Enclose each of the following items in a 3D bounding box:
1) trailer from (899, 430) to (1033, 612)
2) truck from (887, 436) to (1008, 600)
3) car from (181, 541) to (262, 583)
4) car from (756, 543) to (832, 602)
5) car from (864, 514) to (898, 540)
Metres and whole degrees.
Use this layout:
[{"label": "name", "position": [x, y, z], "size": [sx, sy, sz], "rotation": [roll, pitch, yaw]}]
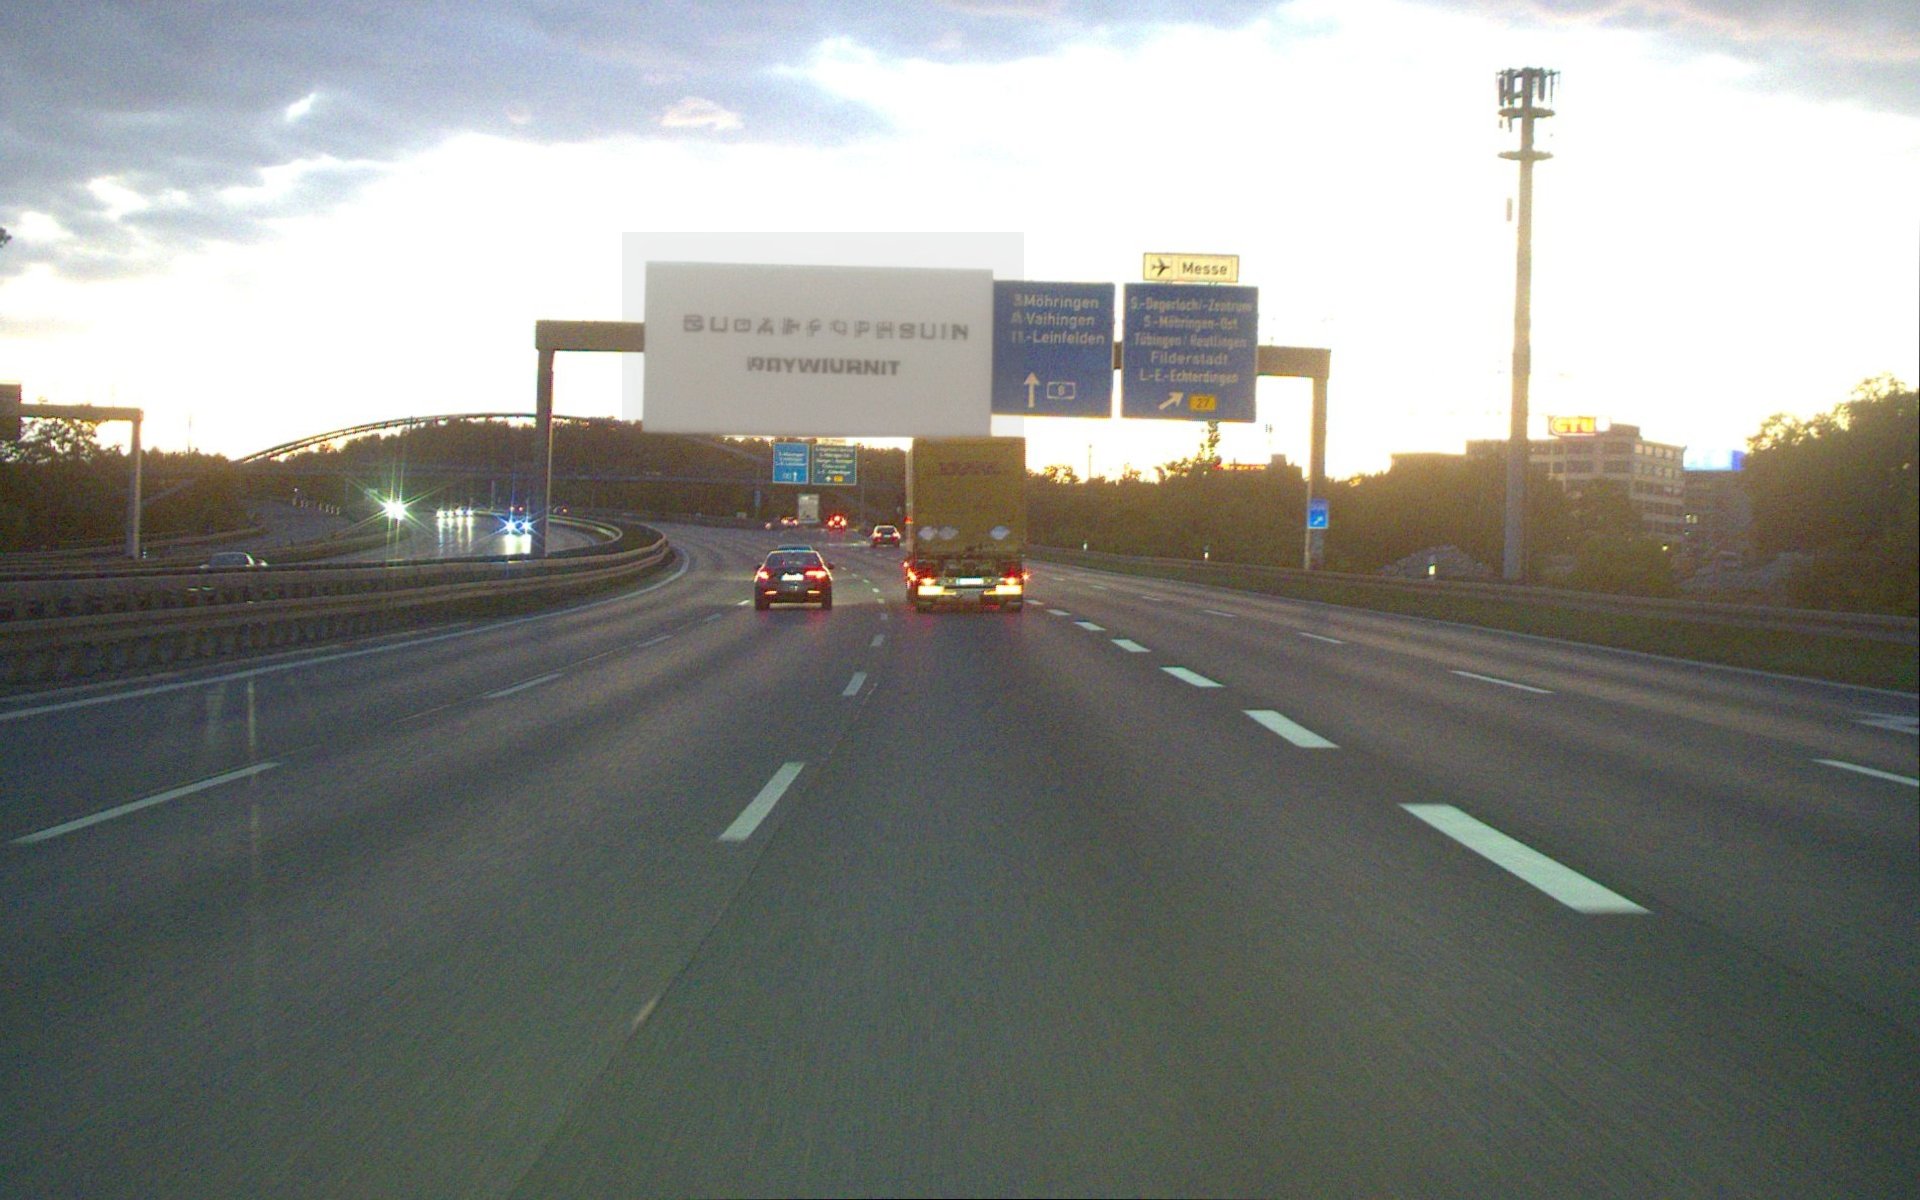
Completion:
[{"label": "trailer", "position": [0.051, -1.885, 81.107], "size": [2.721, 4.057, 8.832], "rotation": [0, 2, -3]}, {"label": "truck", "position": [-0.422, -2.184, 90.757], "size": [2.690, 4.057, 10.522], "rotation": [0, 2, -3]}, {"label": "car", "position": [-25.680, -1.313, 119.633], "size": [1.993, 1.399, 4.330], "rotation": [1, 1, -2]}, {"label": "car", "position": [-4.070, -0.666, 83.941], "size": [1.689, 1.396, 3.409], "rotation": [0, 0, -5]}, {"label": "car", "position": [-5.531, -5.087, 240.712], "size": [1.993, 1.711, 4.001], "rotation": [1, 0, -6]}]
